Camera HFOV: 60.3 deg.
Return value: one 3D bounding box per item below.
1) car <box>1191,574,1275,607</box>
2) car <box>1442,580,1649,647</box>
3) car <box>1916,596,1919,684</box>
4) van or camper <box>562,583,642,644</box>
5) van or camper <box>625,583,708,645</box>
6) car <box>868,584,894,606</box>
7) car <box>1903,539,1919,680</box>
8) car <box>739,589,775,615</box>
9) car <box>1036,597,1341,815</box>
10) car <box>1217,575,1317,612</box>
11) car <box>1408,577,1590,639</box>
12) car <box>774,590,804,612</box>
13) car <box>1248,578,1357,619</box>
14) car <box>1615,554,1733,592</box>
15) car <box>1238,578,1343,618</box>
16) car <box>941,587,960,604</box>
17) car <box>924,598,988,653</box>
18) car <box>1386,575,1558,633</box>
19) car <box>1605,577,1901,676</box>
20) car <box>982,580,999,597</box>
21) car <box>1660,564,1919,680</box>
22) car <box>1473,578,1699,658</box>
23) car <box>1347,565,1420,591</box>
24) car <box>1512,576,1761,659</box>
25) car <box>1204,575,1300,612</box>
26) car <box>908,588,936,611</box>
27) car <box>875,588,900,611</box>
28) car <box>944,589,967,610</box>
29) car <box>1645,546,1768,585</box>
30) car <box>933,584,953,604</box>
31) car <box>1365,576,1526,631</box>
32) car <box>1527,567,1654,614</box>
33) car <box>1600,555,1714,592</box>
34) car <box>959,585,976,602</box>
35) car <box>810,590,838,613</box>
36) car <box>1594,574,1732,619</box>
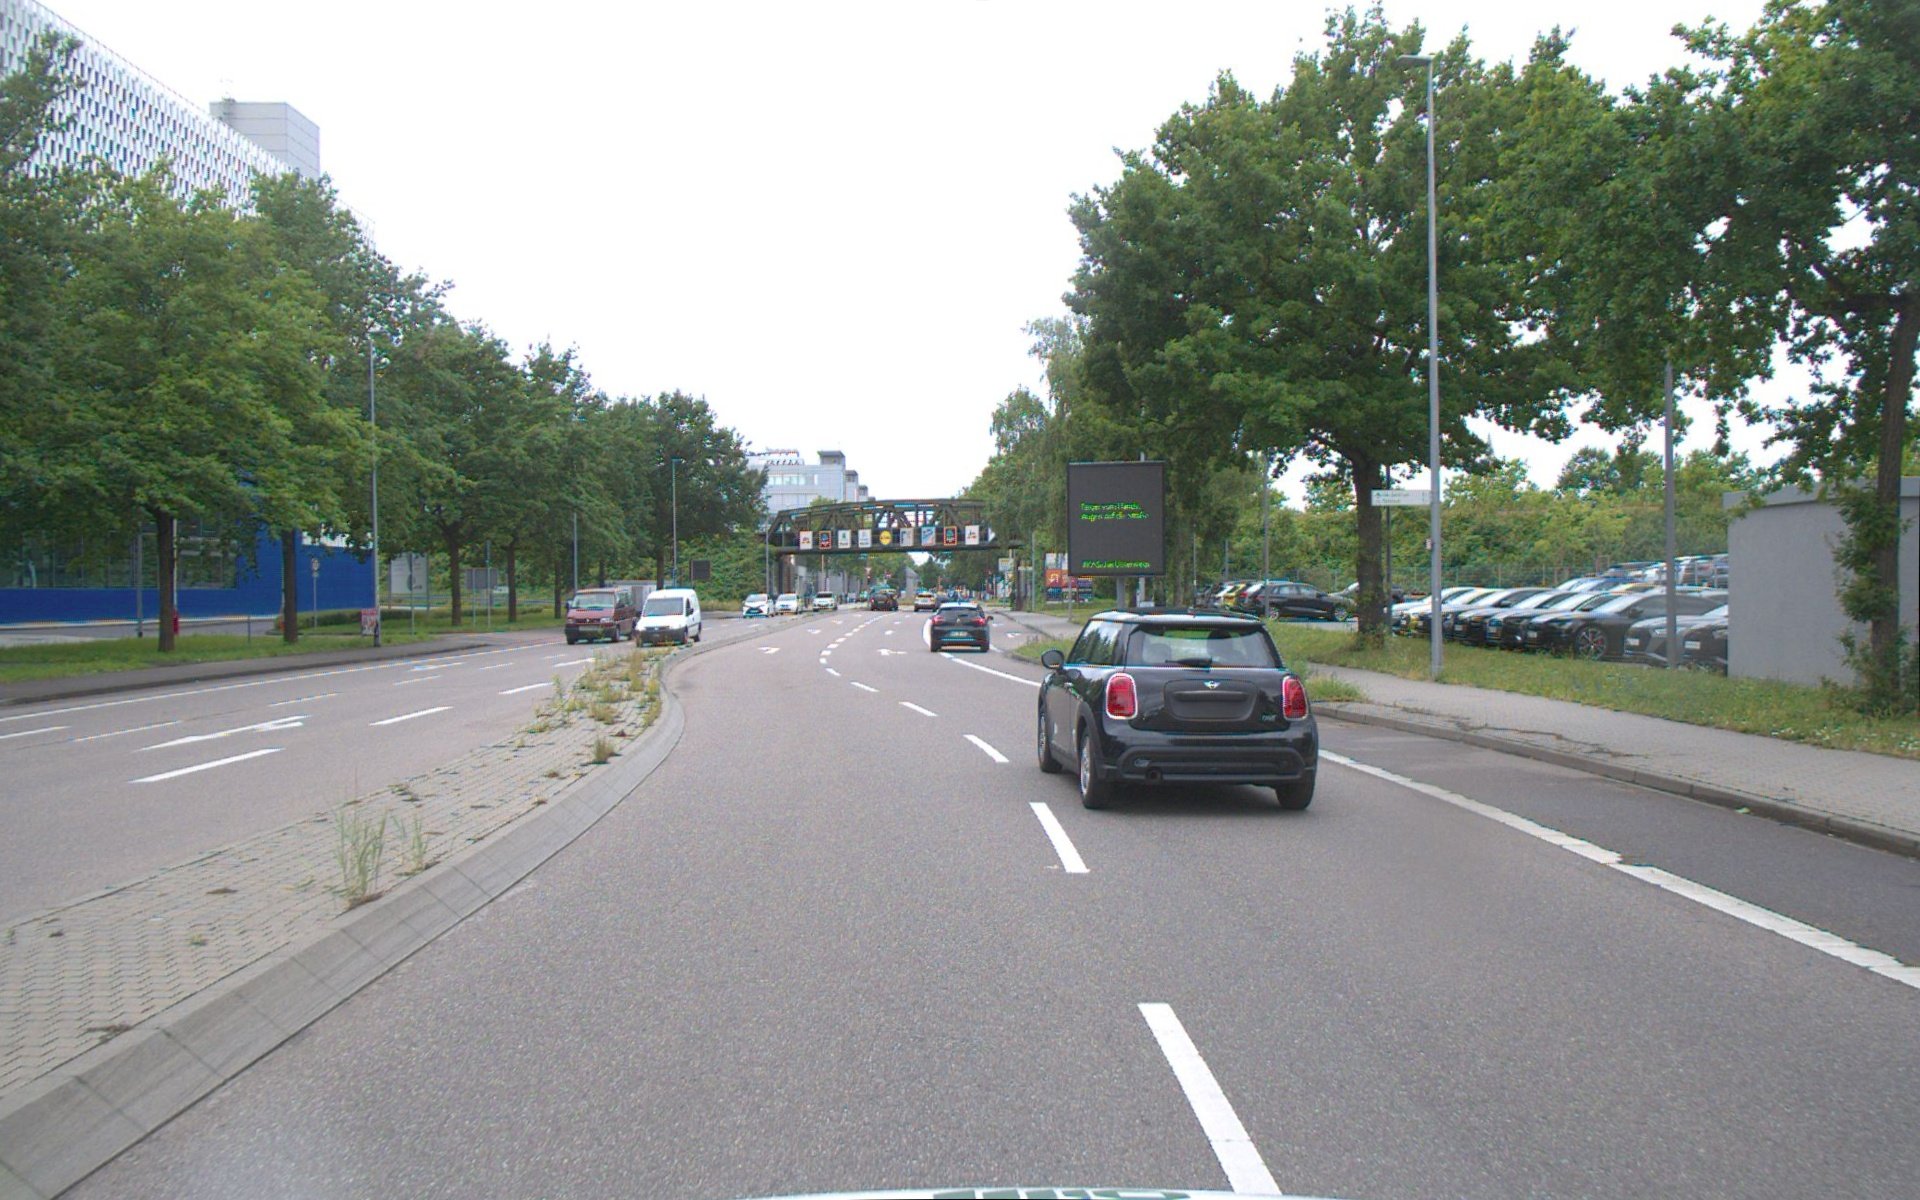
[{"bbox_3d":[13.209,-0.469,80.112,3.902,1.460,1.732,1,2,6],"label":"car"},{"bbox_3d":[13.863,0.300,39.297,4.255,1.514,1.843,1,1,-1],"label":"car"},{"bbox_3d":[15.600,0.623,23.366,1.879,1.355,4.000,-1,1,0],"label":"car"},{"bbox_3d":[-12.921,0.457,59.937,1.837,2.021,4.889,-1,1,-1],"label":"van or camper"},{"bbox_3d":[-9.479,0.430,53.748,1.719,1.777,4.408,-4,1,1],"label":"van or camper"},{"bbox_3d":[-6.677,-0.421,139.794,1.845,1.690,3.784,1,2,2],"label":"car"},{"bbox_3d":[14.037,0.359,19.594,4.458,1.731,2.001,5,2,0],"label":"car"},{"bbox_3d":[-12.652,0.095,103.424,1.718,1.471,3.341,1,2,2],"label":"car"},{"bbox_3d":[1.642,0.731,13.051,1.750,1.440,3.641,1,0,-2],"label":"car"},{"bbox_3d":[12.684,-0.279,68.515,3.902,1.460,1.732,1,2,6],"label":"car"},{"bbox_3d":[13.613,0.199,41.912,4.003,1.460,1.822,0,2,-2],"label":"car"},{"bbox_3d":[-12.307,0.047,118.927,1.684,1.395,3.441,1,2,2],"label":"car"},{"bbox_3d":[13.000,-0.059,63.018,3.902,1.460,1.732,1,2,6],"label":"car"},{"bbox_3d":[28.831,-1.115,66.879,4.003,1.460,1.730,0,2,-2],"label":"car"},{"bbox_3d":[13.049,-0.106,65.490,3.902,1.460,1.732,1,2,6],"label":"car"},{"bbox_3d":[-0.996,-0.540,179.118,1.845,1.690,3.784,1,2,2],"label":"car"},{"bbox_3d":[-0.081,0.742,49.678,1.720,1.459,4.002,-1,1,2],"label":"car"},{"bbox_3d":[13.682,0.093,44.319,4.003,1.460,1.846,0,2,-2],"label":"car"},{"bbox_3d":[13.902,0.450,29.175,4.205,1.417,2.000,4,0,1],"label":"car"},{"bbox_3d":[3.605,-1.337,192.308,1.909,1.847,4.002,1,2,2],"label":"car"},{"bbox_3d":[13.849,0.369,26.706,4.173,1.592,2.000,4,0,1],"label":"car"},{"bbox_3d":[13.910,0.381,36.931,4.255,1.529,1.929,3,1,-1],"label":"car"},{"bbox_3d":[24.575,-1.288,96.134,3.902,1.460,1.732,1,2,6],"label":"car"},{"bbox_3d":[14.004,0.339,34.398,4.355,1.599,2.000,-1,1,-1],"label":"car"},{"bbox_3d":[12.491,-0.302,70.871,3.902,1.460,1.732,1,2,6],"label":"car"},{"bbox_3d":[-3.161,-0.066,137.916,2.091,1.690,3.784,1,2,2],"label":"car"},{"bbox_3d":[-6.445,-0.062,146.653,1.909,1.847,4.002,1,2,2],"label":"car"},{"bbox_3d":[-0.380,-0.085,144.600,1.845,1.690,3.784,1,2,2],"label":"car"},{"bbox_3d":[29.059,-1.369,64.415,4.003,1.460,1.730,0,2,-2],"label":"car"},{"bbox_3d":[-1.695,-0.601,168.215,1.909,1.847,4.002,1,2,2],"label":"car"},{"bbox_3d":[13.641,0.084,46.637,4.003,1.460,1.730,0,2,-2],"label":"car"},{"bbox_3d":[23.161,-0.373,60.869,4.003,1.648,1.730,0,2,-2],"label":"car"},{"bbox_3d":[29.021,-1.110,68.912,4.003,1.460,1.730,0,2,-2],"label":"car"},{"bbox_3d":[0.888,-0.753,191.937,1.909,1.847,4.002,1,2,2],"label":"car"},{"bbox_3d":[-11.432,0.117,138.740,1.900,1.705,3.784,1,2,2],"label":"car"},{"bbox_3d":[24.258,-0.118,57.139,4.003,1.460,1.730,0,2,-2],"label":"car"}]
